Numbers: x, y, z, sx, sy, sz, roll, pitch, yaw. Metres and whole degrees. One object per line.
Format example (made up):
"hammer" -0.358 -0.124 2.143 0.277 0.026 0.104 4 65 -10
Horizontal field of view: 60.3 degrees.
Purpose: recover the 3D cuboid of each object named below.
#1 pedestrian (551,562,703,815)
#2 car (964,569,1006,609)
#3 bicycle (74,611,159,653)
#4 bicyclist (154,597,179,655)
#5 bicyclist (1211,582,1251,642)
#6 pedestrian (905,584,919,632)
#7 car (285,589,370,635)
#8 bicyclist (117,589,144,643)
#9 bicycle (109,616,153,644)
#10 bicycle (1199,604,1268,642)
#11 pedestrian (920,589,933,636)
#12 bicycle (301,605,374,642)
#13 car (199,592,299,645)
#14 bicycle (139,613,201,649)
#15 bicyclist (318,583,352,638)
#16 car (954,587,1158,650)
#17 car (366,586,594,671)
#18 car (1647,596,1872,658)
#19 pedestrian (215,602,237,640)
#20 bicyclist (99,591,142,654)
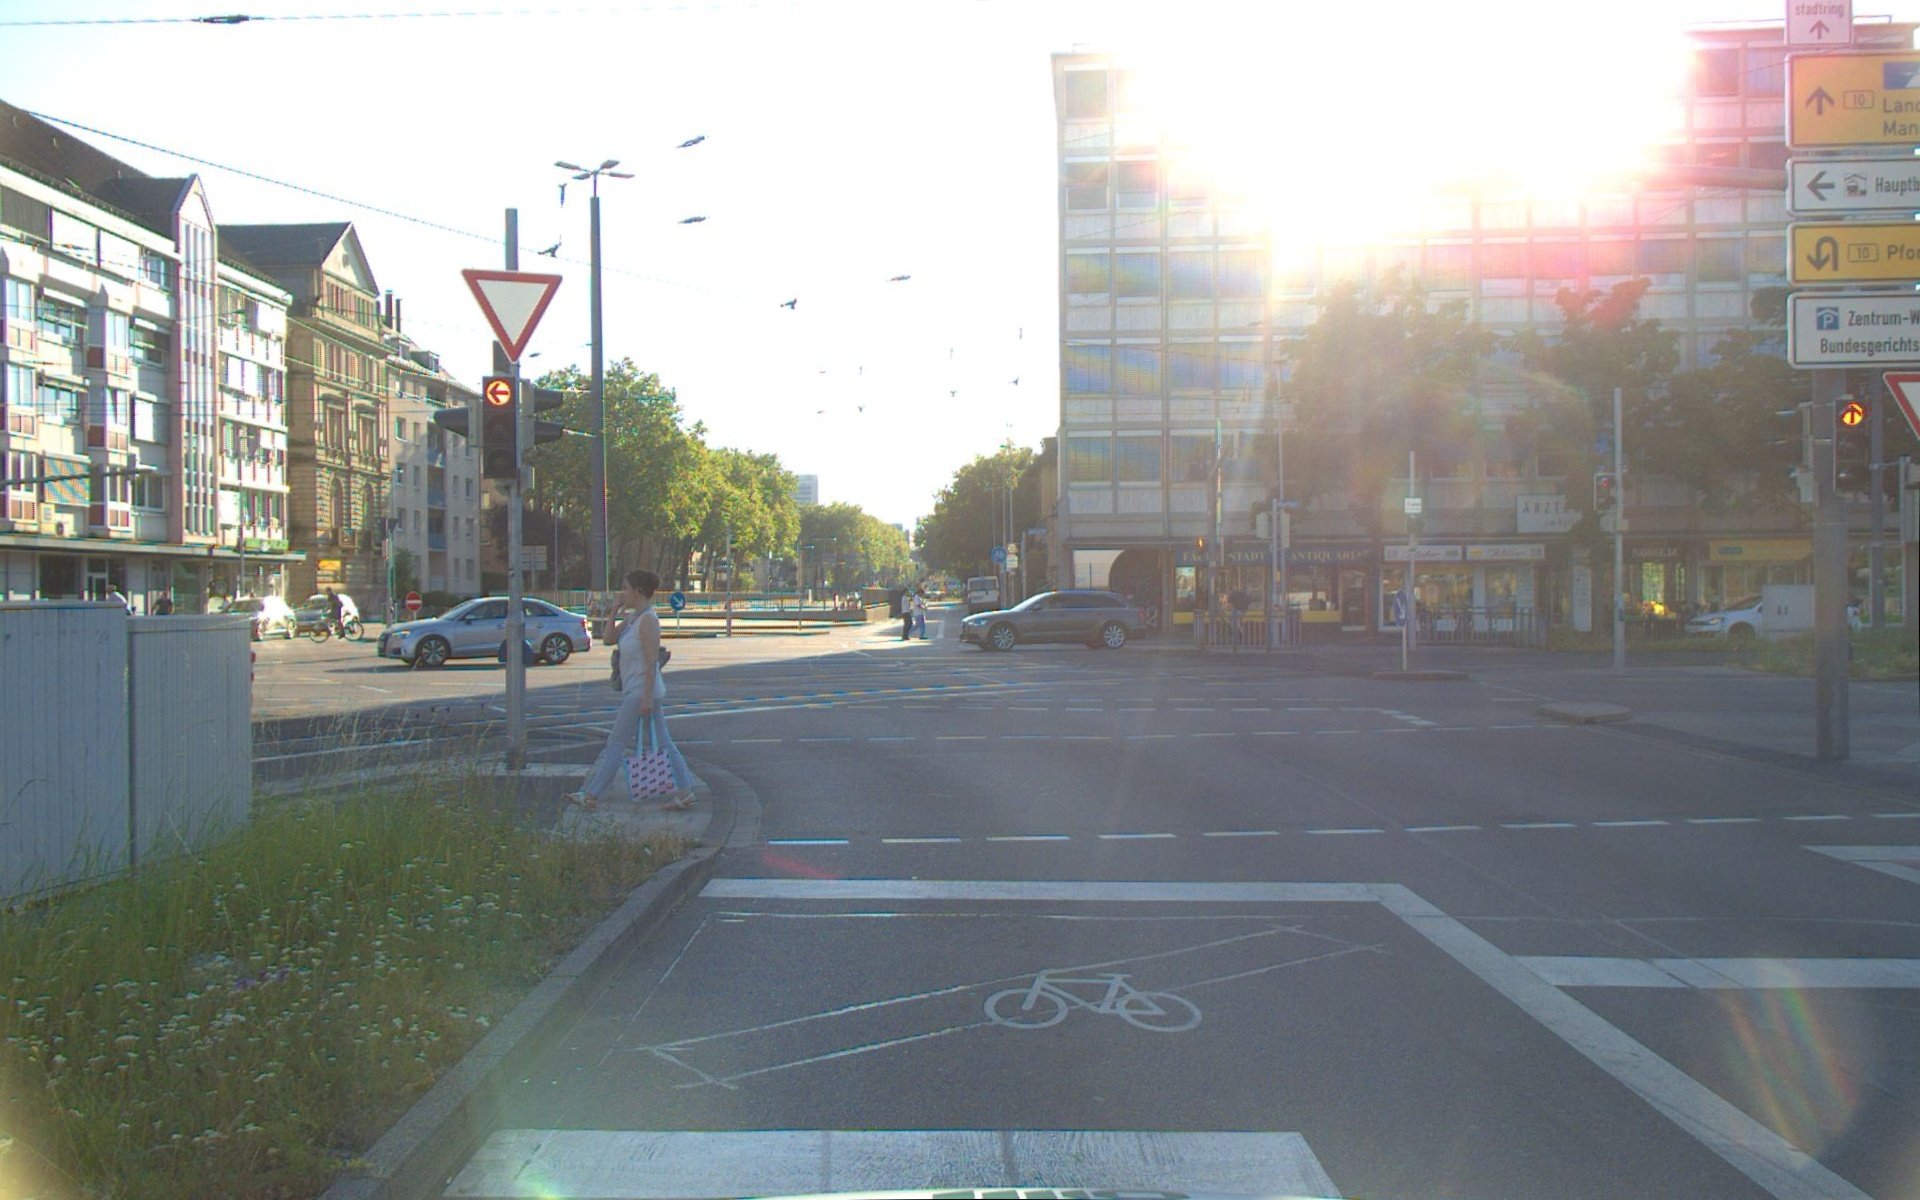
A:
"pedestrian" -2.210 0.571 11.044 0.860 1.625 0.655 -1 0 -1
"car" 1.548 -0.696 106.260 2.435 2.434 5.933 -2 0 -1
"bicycle" -24.269 0.918 47.622 2.053 1.157 0.658 -1 0 -5
"bicyclist" -28.172 0.918 58.725 0.766 2.049 0.600 -1 0 -24
"bicyclist" 8.104 0.355 49.490 1.019 1.769 0.677 -1 0 -5
"pedestrian" -1.552 0.246 53.174 0.359 1.534 0.542 -1 0 -7
"car" -27.014 0.484 70.734 1.952 1.892 4.001 -1 0 2
"bicyclist" -29.696 0.562 59.202 0.580 1.894 0.642 -1 0 1
"bicycle" -29.641 1.063 59.152 0.586 0.931 1.836 -1 0 1
"bicycle" 8.191 0.678 49.498 1.934 1.117 0.677 -1 0 -5
"pedestrian" -1.095 0.417 54.583 0.359 1.534 0.542 -1 0 -7
"bicycle" -20.623 0.776 54.799 2.131 1.157 0.658 -1 0 -5
"car" -26.927 0.684 62.792 1.952 1.892 4.001 -1 0 2
"bicycle" -28.061 1.102 58.783 1.935 1.222 0.605 -1 0 -25
"bicyclist" -20.693 0.341 54.786 0.881 1.783 0.650 -1 0 -5
"car" 2.393 0.443 41.913 4.832 1.504 1.995 -1 0 -11
"car" -10.199 0.567 35.208 4.293 1.624 1.977 -1 0 -34
"car" 20.467 0.670 42.482 4.817 1.504 2.001 0 0 3
"pedestrian" -31.838 0.919 71.737 0.613 1.633 0.704 0 0 1
"bicyclist" -24.167 0.631 47.629 0.881 1.783 0.654 -1 0 -4
